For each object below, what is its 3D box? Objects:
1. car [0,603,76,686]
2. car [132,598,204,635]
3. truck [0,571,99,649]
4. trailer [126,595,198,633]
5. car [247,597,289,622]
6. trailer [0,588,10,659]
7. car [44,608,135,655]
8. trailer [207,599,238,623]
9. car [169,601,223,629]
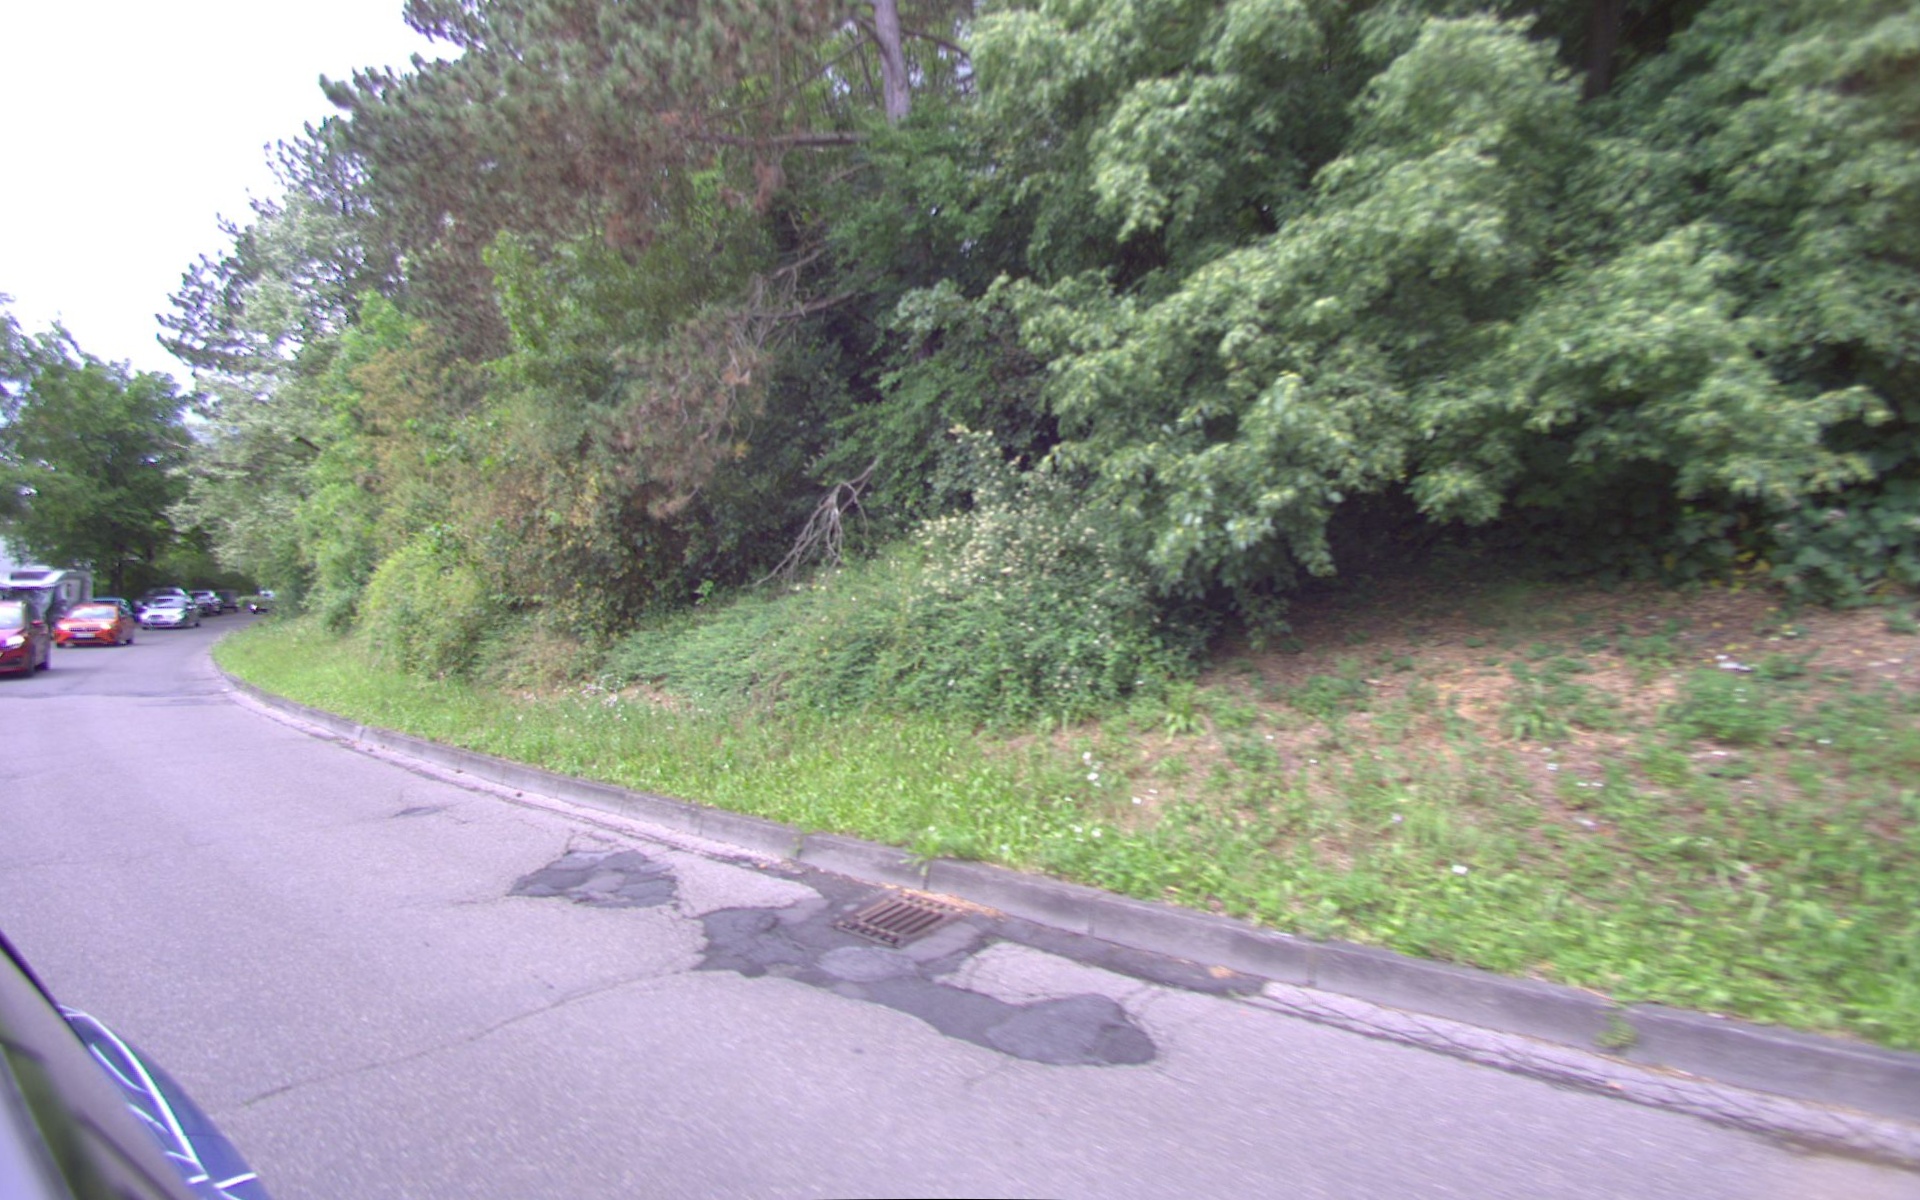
[{"bbox_3d":[-21.237,0.941,22.114,1.966,1.640,4.640,-2,1,-29],"label":"car"},{"bbox_3d":[-39.258,0.792,50.279,1.891,1.694,4.013,1,0,-24],"label":"car"},{"bbox_3d":[-38.107,0.387,41.952,2.271,2.955,7.055,0,0,-29],"label":"truck"},{"bbox_3d":[-46.997,0.772,59.715,1.965,1.947,5.914,-1,2,-25],"label":"trailer"},{"bbox_3d":[-47.873,0.625,70.071,1.739,1.528,4.014,-2,2,-25],"label":"car"},{"bbox_3d":[-32.549,0.746,32.445,2.077,2.380,4.714,1,-2,-31],"label":"trailer"},{"bbox_3d":[-30.354,1.059,35.398,1.837,1.459,4.187,-1,1,-33],"label":"car"},{"bbox_3d":[-52.104,0.795,71.533,1.354,1.616,2.275,-2,1,-25],"label":"trailer"},{"bbox_3d":[-49.166,0.971,65.222,1.814,1.697,4.615,-1,0,-25],"label":"car"}]
